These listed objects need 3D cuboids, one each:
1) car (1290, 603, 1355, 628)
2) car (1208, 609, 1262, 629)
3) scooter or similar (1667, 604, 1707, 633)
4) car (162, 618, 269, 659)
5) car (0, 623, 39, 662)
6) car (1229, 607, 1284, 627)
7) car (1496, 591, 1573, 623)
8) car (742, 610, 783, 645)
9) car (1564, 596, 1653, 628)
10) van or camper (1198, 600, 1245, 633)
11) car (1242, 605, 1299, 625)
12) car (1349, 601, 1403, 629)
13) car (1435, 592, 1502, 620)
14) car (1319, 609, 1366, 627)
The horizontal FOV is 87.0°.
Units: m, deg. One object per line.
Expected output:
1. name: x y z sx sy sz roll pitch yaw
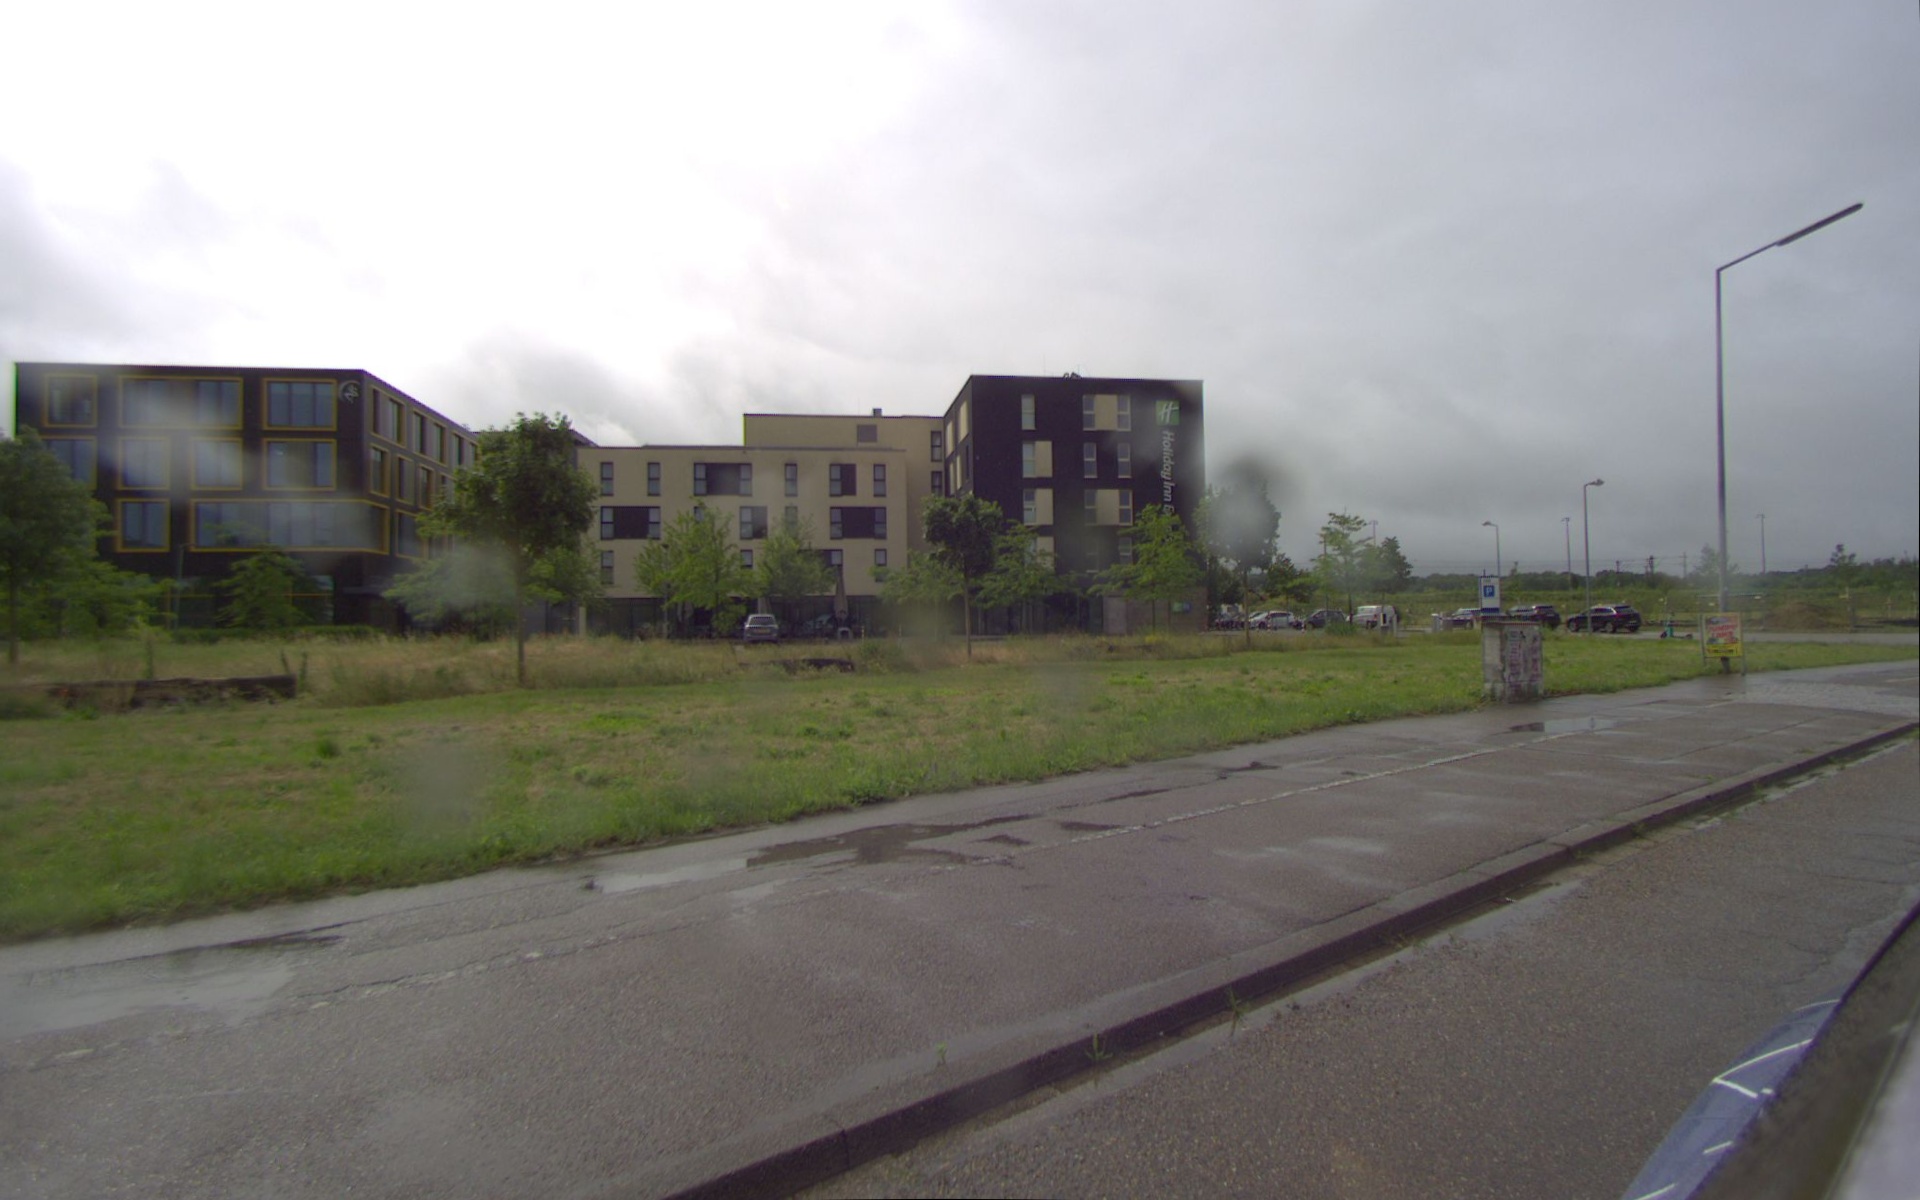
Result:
1. car: 25.096 1.100 70.066 3.763 1.548 1.787 -1 -4 -10
2. car: 22.332 1.541 82.165 3.763 1.414 1.787 -1 -4 -10
3. scooter or similar: 30.798 0.779 42.897 0.494 1.202 1.283 2 -1 -39
4. car: -34.605 1.731 47.215 1.960 1.784 4.561 -1 -1 -6
5. car: -44.025 1.918 45.554 1.734 1.743 4.003 -1 -1 -5
6. car: 23.265 1.320 79.532 3.704 1.415 1.645 -2 -3 -9
7. car: 36.365 0.495 64.200 1.958 1.751 4.005 0 -4 -13
8. car: -9.878 1.358 50.877 1.633 1.577 4.223 -1 0 -6
9. car: 37.202 0.698 58.159 1.959 1.638 4.007 -3 0 -13
10. van or camper: 28.835 1.830 111.875 2.478 3.244 6.806 -1 -4 -9
11. car: 23.725 1.146 77.345 3.729 1.414 1.770 -1 -4 -10
12. car: 33.505 1.230 81.567 1.959 1.796 4.339 -1 -6 -8
13. car: 35.058 0.415 69.872 1.958 1.663 4.005 0 -4 -13
14. car: 32.698 1.579 86.687 1.959 1.433 4.005 -1 -2 -9
